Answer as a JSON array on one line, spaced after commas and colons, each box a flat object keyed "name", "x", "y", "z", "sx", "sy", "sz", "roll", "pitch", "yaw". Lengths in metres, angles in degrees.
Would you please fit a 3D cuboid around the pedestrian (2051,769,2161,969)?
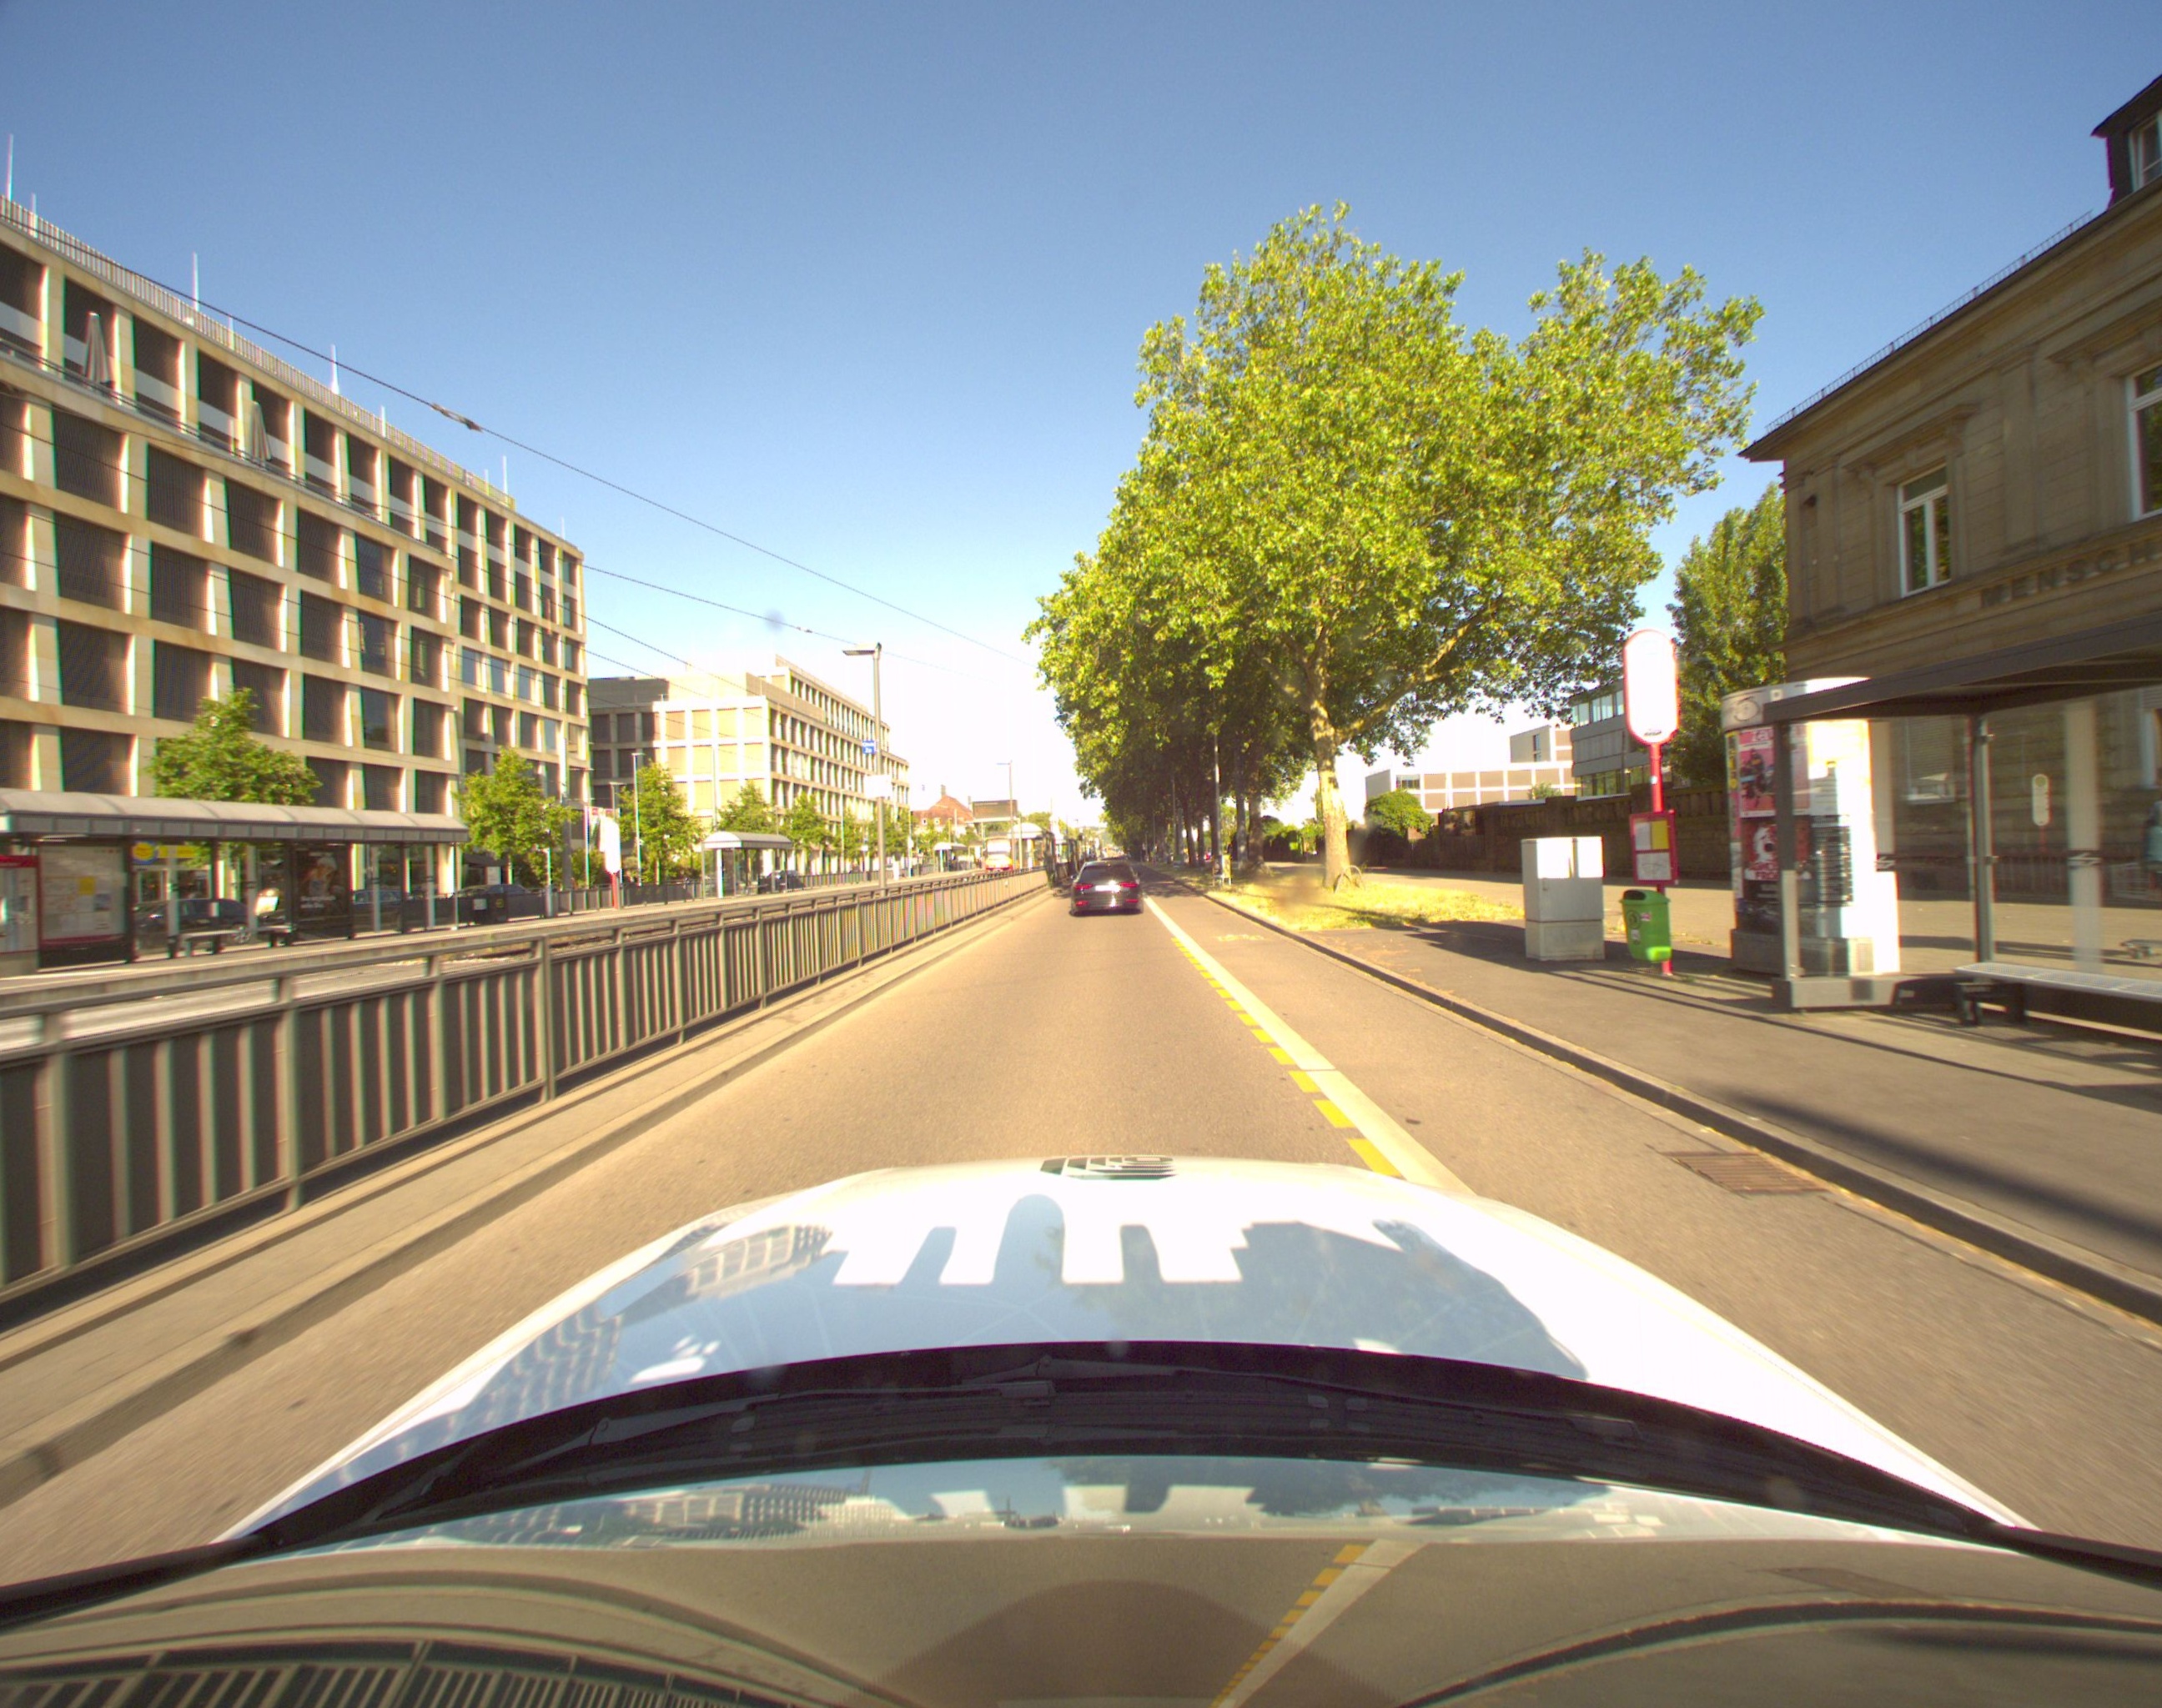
[{"name": "pedestrian", "x": 9.727, "y": 0.113, "z": 7.403, "sx": 0.768, "sy": 1.744, "sz": 0.795, "roll": -4, "pitch": -1, "yaw": -4}]

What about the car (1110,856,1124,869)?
[{"name": "car", "x": 4.829, "y": 1.146, "z": 110.594, "sx": 1.757, "sy": 1.619, "sz": 4.000, "roll": -2, "pitch": 0, "yaw": 1}]

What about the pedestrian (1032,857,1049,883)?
[{"name": "pedestrian", "x": -2.009, "y": 0.792, "z": 40.218, "sx": 0.739, "sy": 1.274, "sz": 0.525, "roll": -2, "pitch": 0, "yaw": 2}]

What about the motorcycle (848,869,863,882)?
[{"name": "motorcycle", "x": -18.339, "y": 1.740, "z": 66.256, "sx": 0.602, "sy": 1.021, "sz": 1.843, "roll": -2, "pitch": 0, "yaw": 3}]

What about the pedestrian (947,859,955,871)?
[{"name": "pedestrian", "x": -13.628, "y": 1.171, "z": 85.351, "sx": 0.611, "sy": 1.260, "sz": 0.726, "roll": -2, "pitch": -1, "yaw": 6}]

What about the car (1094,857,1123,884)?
[{"name": "car", "x": 1.709, "y": 1.004, "z": 51.880, "sx": 1.757, "sy": 1.619, "sz": 4.000, "roll": -2, "pitch": 0, "yaw": 1}]

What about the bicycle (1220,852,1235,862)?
[{"name": "bicycle", "x": 17.674, "y": 0.320, "z": 98.248, "sx": 1.681, "sy": 1.120, "sz": 0.439, "roll": -4, "pitch": -1, "yaw": 1}]

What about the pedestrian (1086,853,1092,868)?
[{"name": "pedestrian", "x": 0.968, "y": 0.764, "z": 95.749, "sx": 0.608, "sy": 1.668, "sz": 0.614, "roll": -2, "pitch": -1, "yaw": 4}]

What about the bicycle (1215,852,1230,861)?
[{"name": "bicycle", "x": 18.150, "y": 0.321, "z": 104.521, "sx": 1.766, "sy": 1.120, "sz": 0.439, "roll": -4, "pitch": -1, "yaw": 1}]

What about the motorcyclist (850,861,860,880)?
[{"name": "motorcyclist", "x": -18.353, "y": 1.341, "z": 66.139, "sx": 0.573, "sy": 1.533, "sz": 0.765, "roll": -2, "pitch": 0, "yaw": 3}]

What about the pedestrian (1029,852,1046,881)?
[{"name": "pedestrian", "x": -2.312, "y": 0.666, "z": 43.421, "sx": 0.742, "sy": 1.508, "sz": 0.667, "roll": -3, "pitch": 0, "yaw": 5}]

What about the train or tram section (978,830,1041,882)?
[{"name": "train or tram section", "x": -5.747, "y": 0.161, "z": 68.887, "sx": 3.296, "sy": 3.829, "sz": 14.228, "roll": -2, "pitch": 0, "yaw": 3}]

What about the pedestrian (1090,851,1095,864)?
[{"name": "pedestrian", "x": 1.561, "y": 0.459, "z": 108.495, "sx": 0.609, "sy": 1.784, "sz": 0.614, "roll": -2, "pitch": -1, "yaw": 3}]

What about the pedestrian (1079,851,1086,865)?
[{"name": "pedestrian", "x": 0.198, "y": 0.469, "z": 90.088, "sx": 0.610, "sy": 1.549, "sz": 0.727, "roll": -2, "pitch": -1, "yaw": 13}]

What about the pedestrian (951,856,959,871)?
[{"name": "pedestrian", "x": -13.612, "y": 1.044, "z": 87.850, "sx": 0.610, "sy": 1.527, "sz": 0.726, "roll": -2, "pitch": -1, "yaw": 11}]

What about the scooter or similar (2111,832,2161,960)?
[{"name": "scooter or similar", "x": 10.266, "y": 0.376, "z": 7.426, "sx": 0.717, "sy": 1.156, "sz": 0.759, "roll": -4, "pitch": 0, "yaw": -4}]

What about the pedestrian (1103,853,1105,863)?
[{"name": "pedestrian", "x": 4.099, "y": 0.711, "z": 145.424, "sx": 0.410, "sy": 1.717, "sz": 0.666, "roll": -2, "pitch": -1, "yaw": 3}]

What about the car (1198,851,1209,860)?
[{"name": "car", "x": 22.165, "y": 0.300, "z": 147.427, "sx": 1.607, "sy": 1.515, "sz": 3.806, "roll": -2, "pitch": 0, "yaw": 3}]

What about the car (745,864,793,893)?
[{"name": "car", "x": -23.501, "y": 1.834, "z": 61.498, "sx": 1.987, "sy": 2.013, "sz": 4.000, "roll": -2, "pitch": 0, "yaw": 0}]

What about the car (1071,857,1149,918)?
[{"name": "car", "x": 0.742, "y": 0.839, "z": 22.012, "sx": 1.872, "sy": 1.457, "sz": 3.357, "roll": -2, "pitch": 0, "yaw": 0}]

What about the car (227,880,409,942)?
[{"name": "car", "x": -24.684, "y": 1.789, "z": 26.579, "sx": 1.985, "sy": 1.662, "sz": 4.003, "roll": -2, "pitch": 0, "yaw": 3}]
